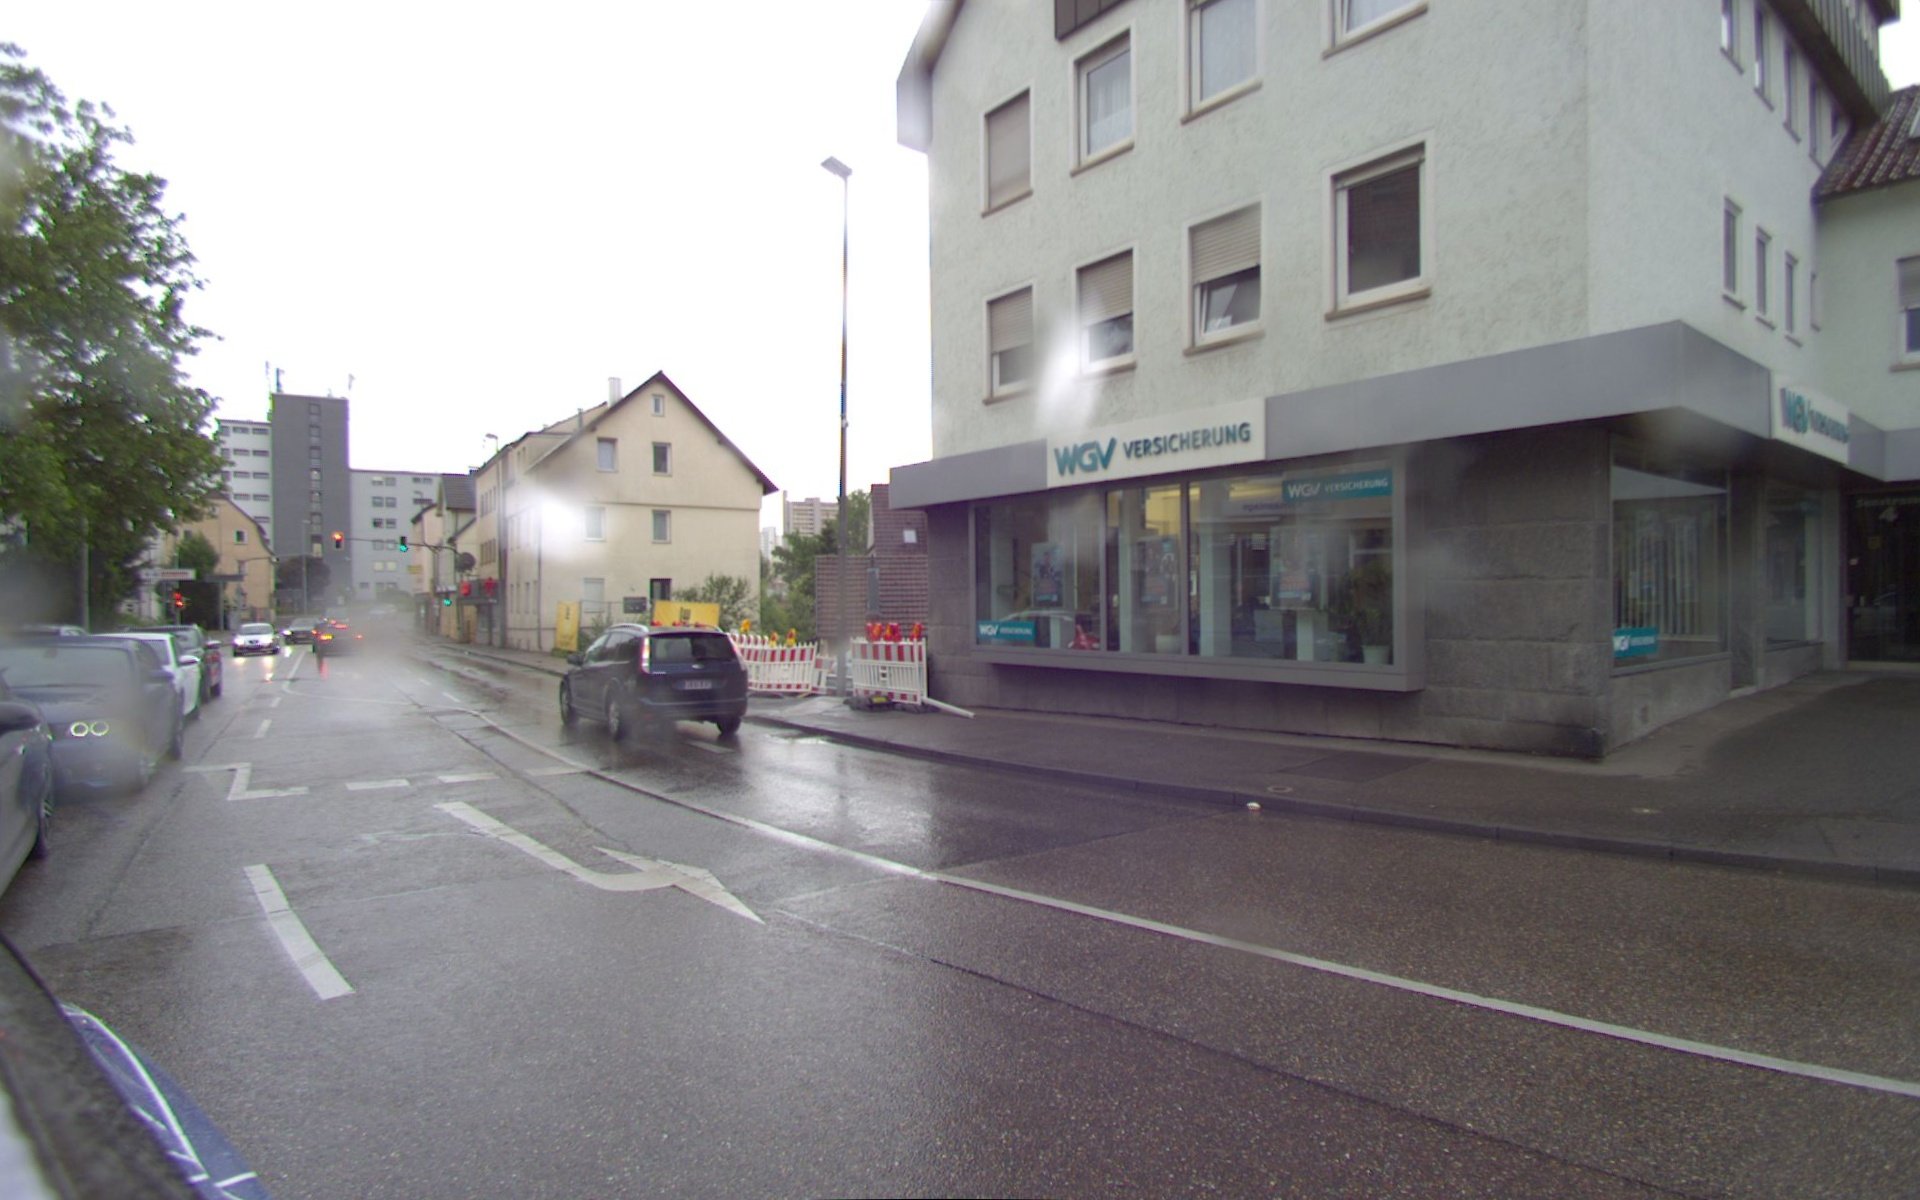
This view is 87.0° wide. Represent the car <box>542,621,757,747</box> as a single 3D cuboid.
[{"bbox_3d":[-4.572,1.096,14.485,1.709,1.522,4.283,1,-3,-35],"label":"car"}]

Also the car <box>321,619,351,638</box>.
[{"bbox_3d":[-54.336,2.472,88.173,1.763,1.577,3.848,-1,-1,-26],"label":"car"}]

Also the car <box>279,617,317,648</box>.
[{"bbox_3d":[-42.659,2.085,65.253,1.763,1.866,3.847,-1,-1,-30],"label":"car"}]

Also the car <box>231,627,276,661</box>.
[{"bbox_3d":[-34.555,2.114,49.569,1.589,1.515,3.728,-2,0,-32],"label":"car"}]

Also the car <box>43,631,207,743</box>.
[{"bbox_3d":[-12.802,1.230,15.726,1.660,1.432,4.010,-1,-1,-35],"label":"car"}]

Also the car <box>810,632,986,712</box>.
[{"bbox_3d":[-1.287,1.585,21.804,3.456,1.401,1.653,10,-9,-41],"label":"car"}]

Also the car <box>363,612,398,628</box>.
[{"bbox_3d":[-62.128,2.154,108.482,1.715,1.577,3.838,-1,-1,-3],"label":"car"}]

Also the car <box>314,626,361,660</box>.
[{"bbox_3d":[-28.294,1.921,45.943,1.684,1.394,3.679,-1,-1,-33],"label":"car"}]

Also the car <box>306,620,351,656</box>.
[{"bbox_3d":[-32.015,1.921,51.266,1.791,1.657,4.287,-1,-1,-34],"label":"car"}]

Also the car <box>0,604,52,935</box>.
[{"bbox_3d":[-5.674,0.842,4.755,1.792,1.583,4.284,-1,-1,-38],"label":"car"}]

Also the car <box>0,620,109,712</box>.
[{"bbox_3d":[-20.080,1.347,21.766,1.904,1.794,4.748,0,-2,-30],"label":"car"}]

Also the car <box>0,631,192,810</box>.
[{"bbox_3d":[-8.744,1.035,9.924,1.615,1.443,3.816,1,-2,-33],"label":"car"}]

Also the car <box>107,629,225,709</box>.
[{"bbox_3d":[-16.879,1.390,21.665,1.659,1.472,4.011,-1,-1,-34],"label":"car"}]
